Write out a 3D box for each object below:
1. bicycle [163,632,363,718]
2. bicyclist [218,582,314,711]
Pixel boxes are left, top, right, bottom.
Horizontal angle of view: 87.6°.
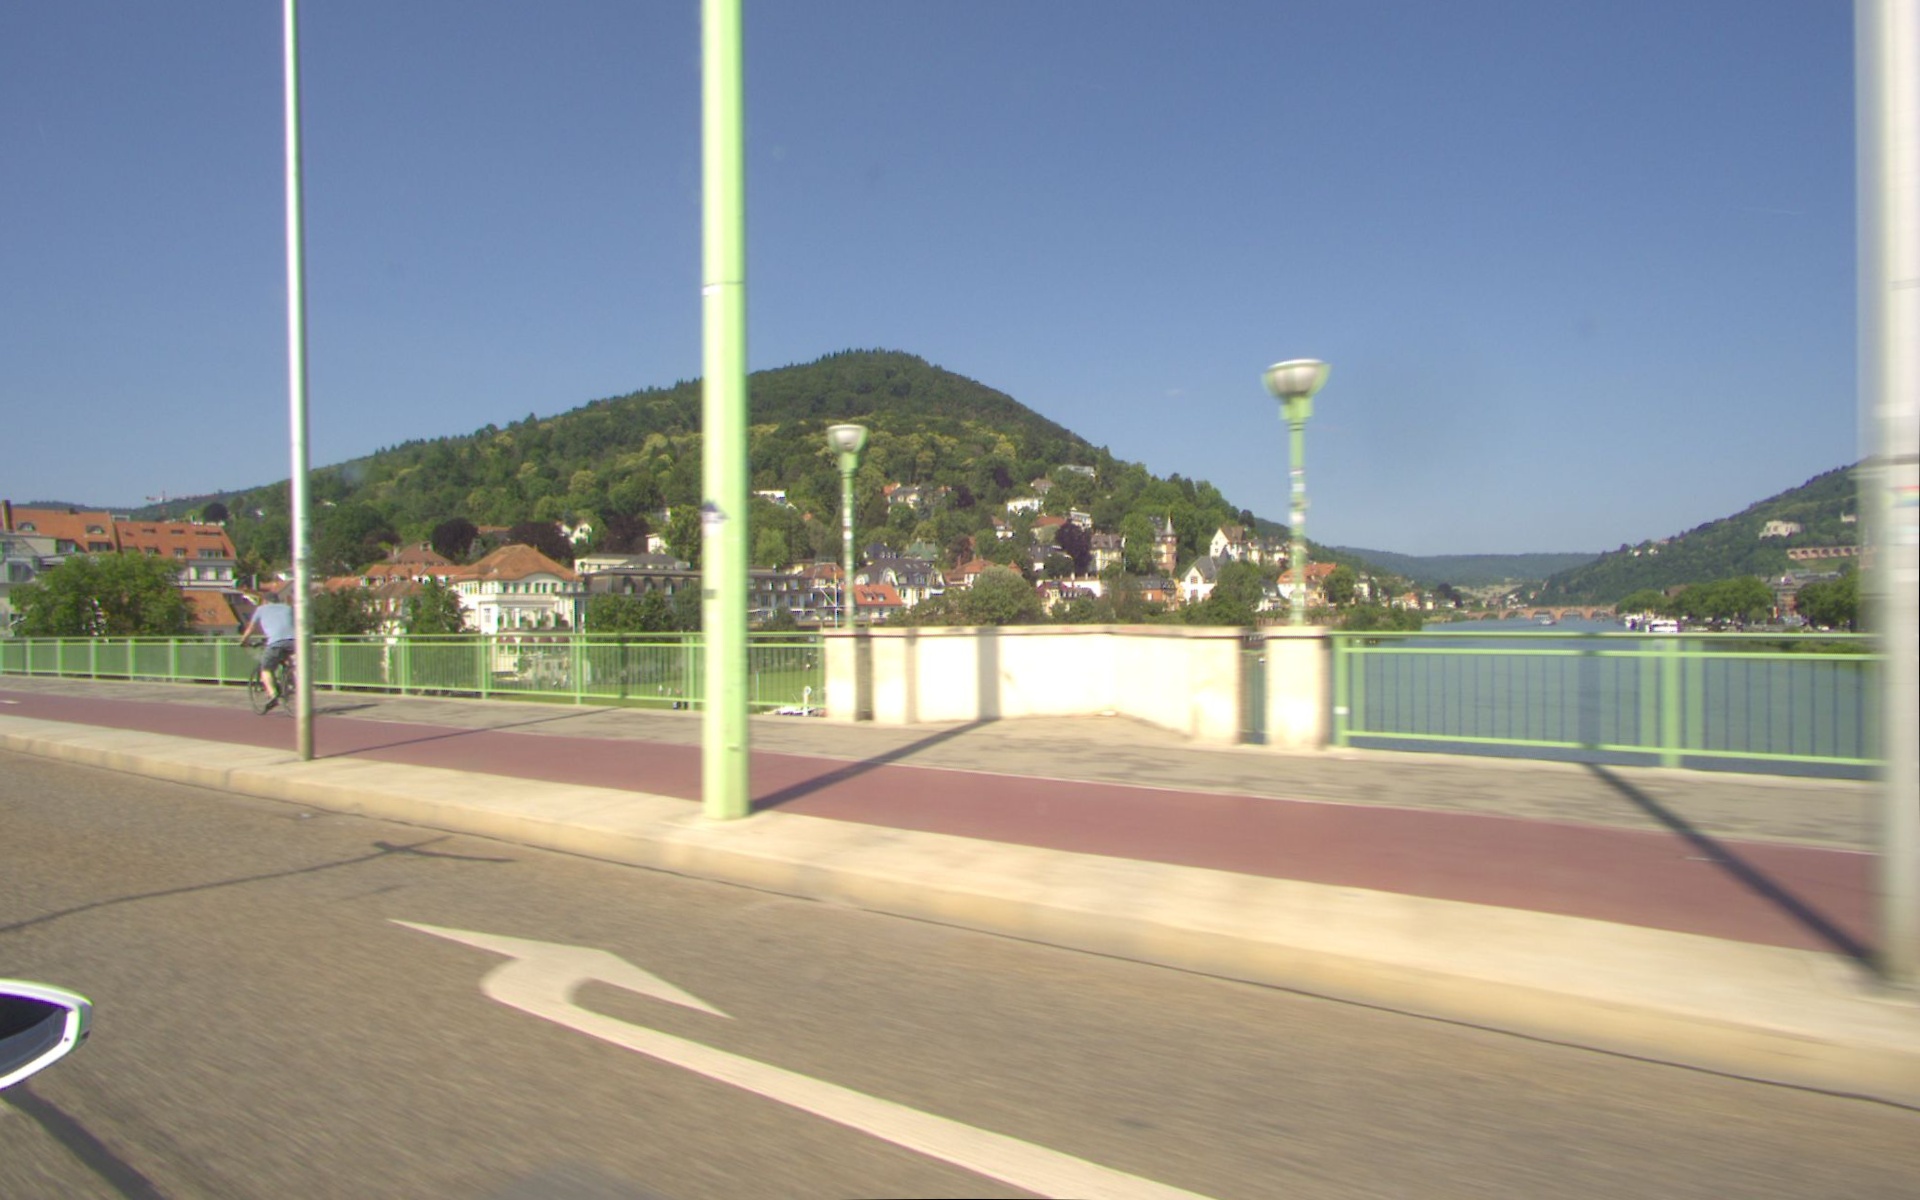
[{"bbox_3d":[-10.095,1.026,14.427,3.687,1.110,0.791,-1,0,29],"label":"bicycle"},{"bbox_3d":[-9.921,0.648,14.313,1.133,1.767,0.672,0,1,29],"label":"bicyclist"}]
